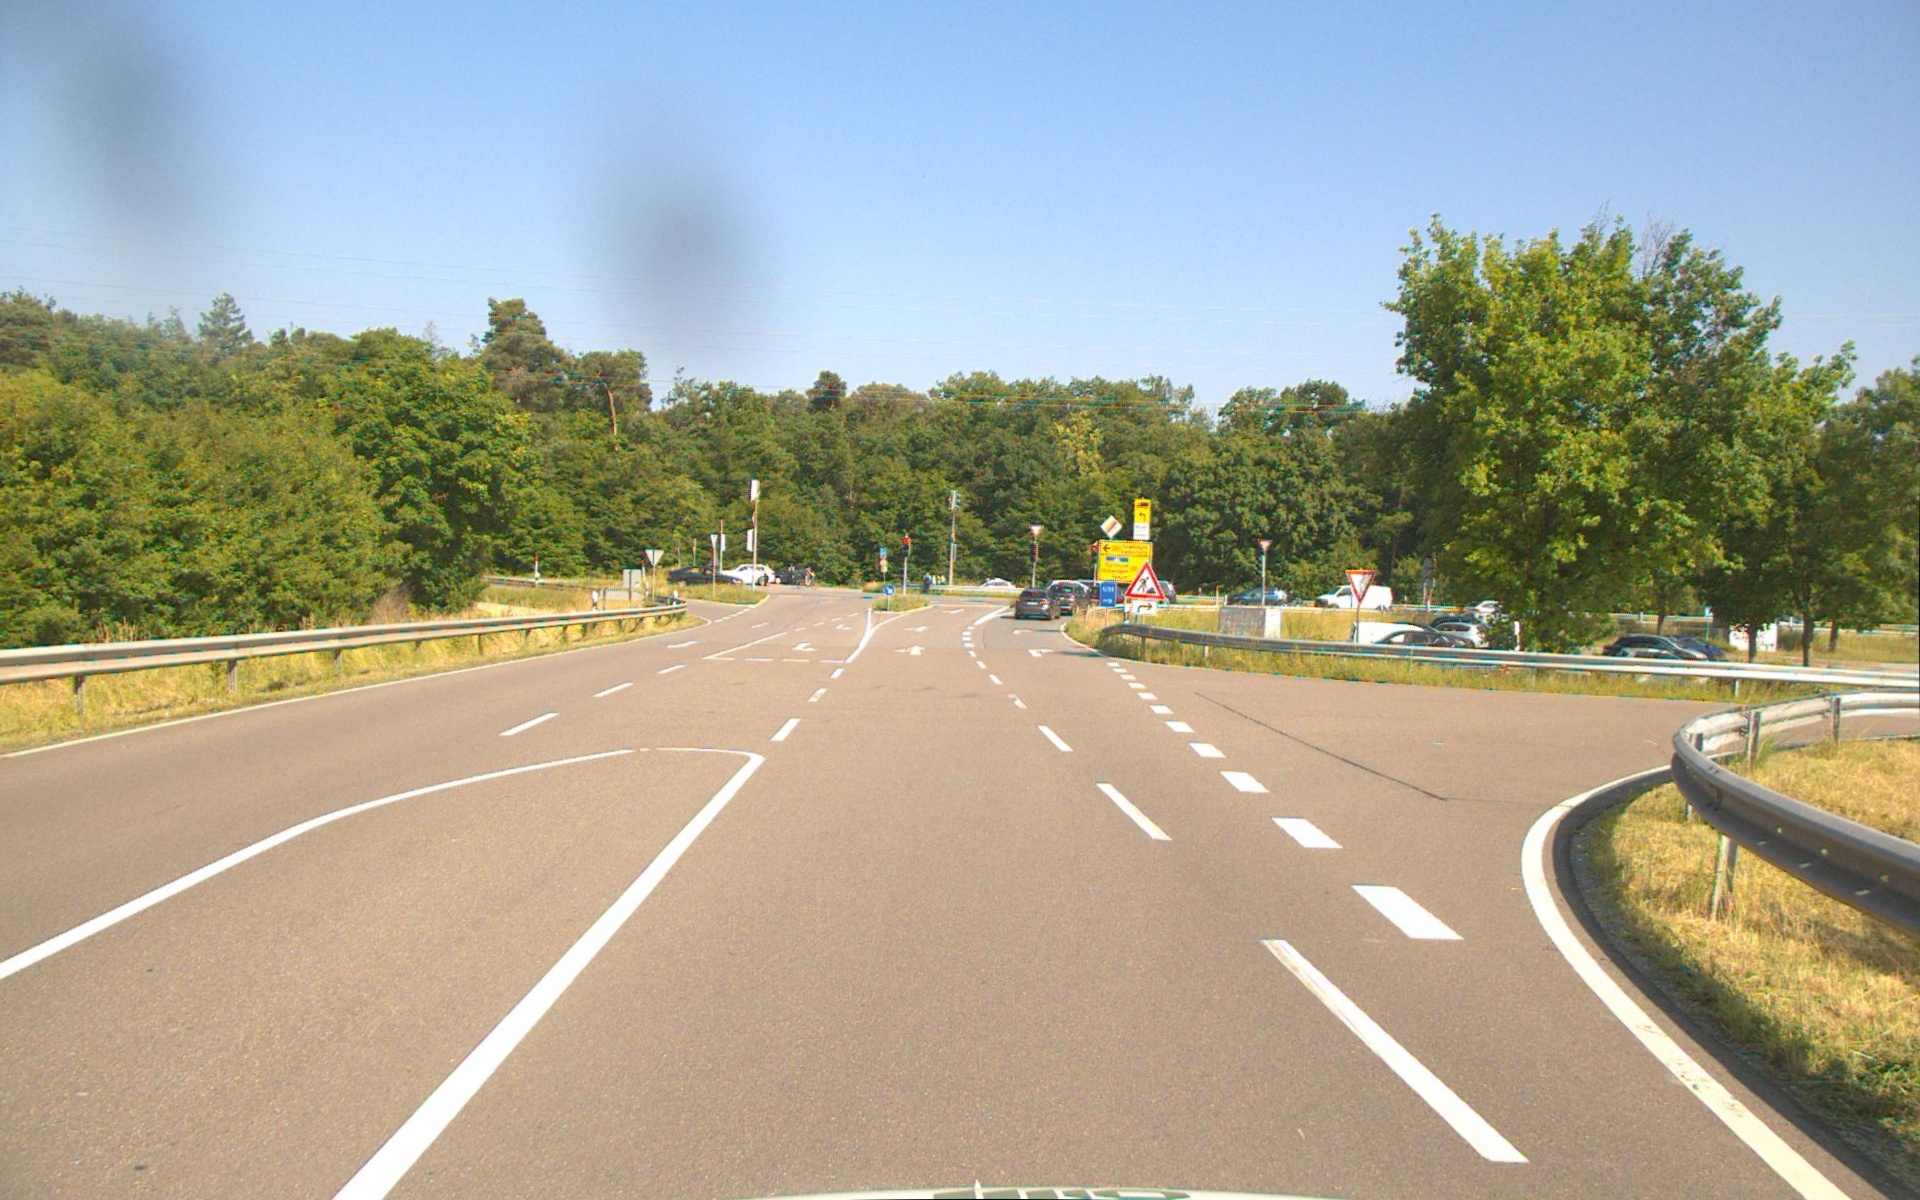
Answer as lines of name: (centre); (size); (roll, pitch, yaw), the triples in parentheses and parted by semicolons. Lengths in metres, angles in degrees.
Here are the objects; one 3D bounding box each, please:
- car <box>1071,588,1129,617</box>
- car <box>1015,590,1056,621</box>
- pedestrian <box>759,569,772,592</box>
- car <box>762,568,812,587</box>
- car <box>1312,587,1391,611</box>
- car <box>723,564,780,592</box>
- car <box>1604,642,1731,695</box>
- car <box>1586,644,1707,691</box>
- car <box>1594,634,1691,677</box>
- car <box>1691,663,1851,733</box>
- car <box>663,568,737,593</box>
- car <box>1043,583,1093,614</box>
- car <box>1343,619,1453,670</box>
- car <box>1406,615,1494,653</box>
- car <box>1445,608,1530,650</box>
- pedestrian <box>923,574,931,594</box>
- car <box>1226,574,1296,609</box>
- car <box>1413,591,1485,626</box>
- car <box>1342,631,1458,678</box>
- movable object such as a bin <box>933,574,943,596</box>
car: (7.767, 0.135, 91.417); (1.765, 1.527, 3.995); (2, 1, 28)
car: (3.607, 0.226, 78.565); (1.761, 1.422, 4.003); (0, 0, 5)
pedestrian: (-14.417, -1.441, 122.600); (0.753, 1.751, 0.668); (1, 1, -43)
car: (-13.696, -1.778, 130.713); (3.911, 1.447, 1.793); (0, 0, -8)
car: (26.343, -0.102, 111.256); (4.789, 1.579, 1.997); (0, 0, -8)
car: (-15.588, -1.623, 123.820); (3.932, 2.049, 1.784); (0, 0, -23)
car: (27.184, 2.619, 63.713); (4.265, 1.616, 2.001); (4, 1, 19)
car: (27.366, 2.669, 66.119); (4.265, 1.472, 2.001); (4, 1, 19)
car: (31.503, 2.527, 76.359); (3.911, 1.608, 1.889); (5, 1, 27)
car: (24.825, 2.980, 50.763); (3.903, 1.694, 1.893); (4, 1, 7)
car: (-15.446, -1.151, 98.291); (4.282, 1.485, 1.997); (0, 0, -8)
car: (5.641, -0.069, 85.817); (1.761, 1.527, 4.003); (2, 1, 16)
car: (18.170, 1.841, 68.760); (4.262, 1.814, 1.903); (3, 1, 12)
car: (25.166, 1.741, 84.965); (3.918, 1.647, 1.886); (5, 1, 34)
car: (28.700, 1.570, 90.083); (3.925, 1.909, 1.882); (5, 1, 39)
pedestrian: (-2.323, -1.150, 116.525); (0.512, 1.415, 0.514); (0, 0, 10)
car: (18.765, -0.566, 103.101); (3.911, 2.048, 1.798); (1, 1, -7)
car: (30.956, 0.537, 104.762); (3.909, 2.048, 1.799); (1, 1, -5)
car: (17.456, 2.147, 65.830); (4.319, 1.696, 1.903); (1, 1, 12)
movable object such as a bin: (-1.559, -1.073, 117.108); (0.589, 1.514, 0.732); (0, 0, 6)
